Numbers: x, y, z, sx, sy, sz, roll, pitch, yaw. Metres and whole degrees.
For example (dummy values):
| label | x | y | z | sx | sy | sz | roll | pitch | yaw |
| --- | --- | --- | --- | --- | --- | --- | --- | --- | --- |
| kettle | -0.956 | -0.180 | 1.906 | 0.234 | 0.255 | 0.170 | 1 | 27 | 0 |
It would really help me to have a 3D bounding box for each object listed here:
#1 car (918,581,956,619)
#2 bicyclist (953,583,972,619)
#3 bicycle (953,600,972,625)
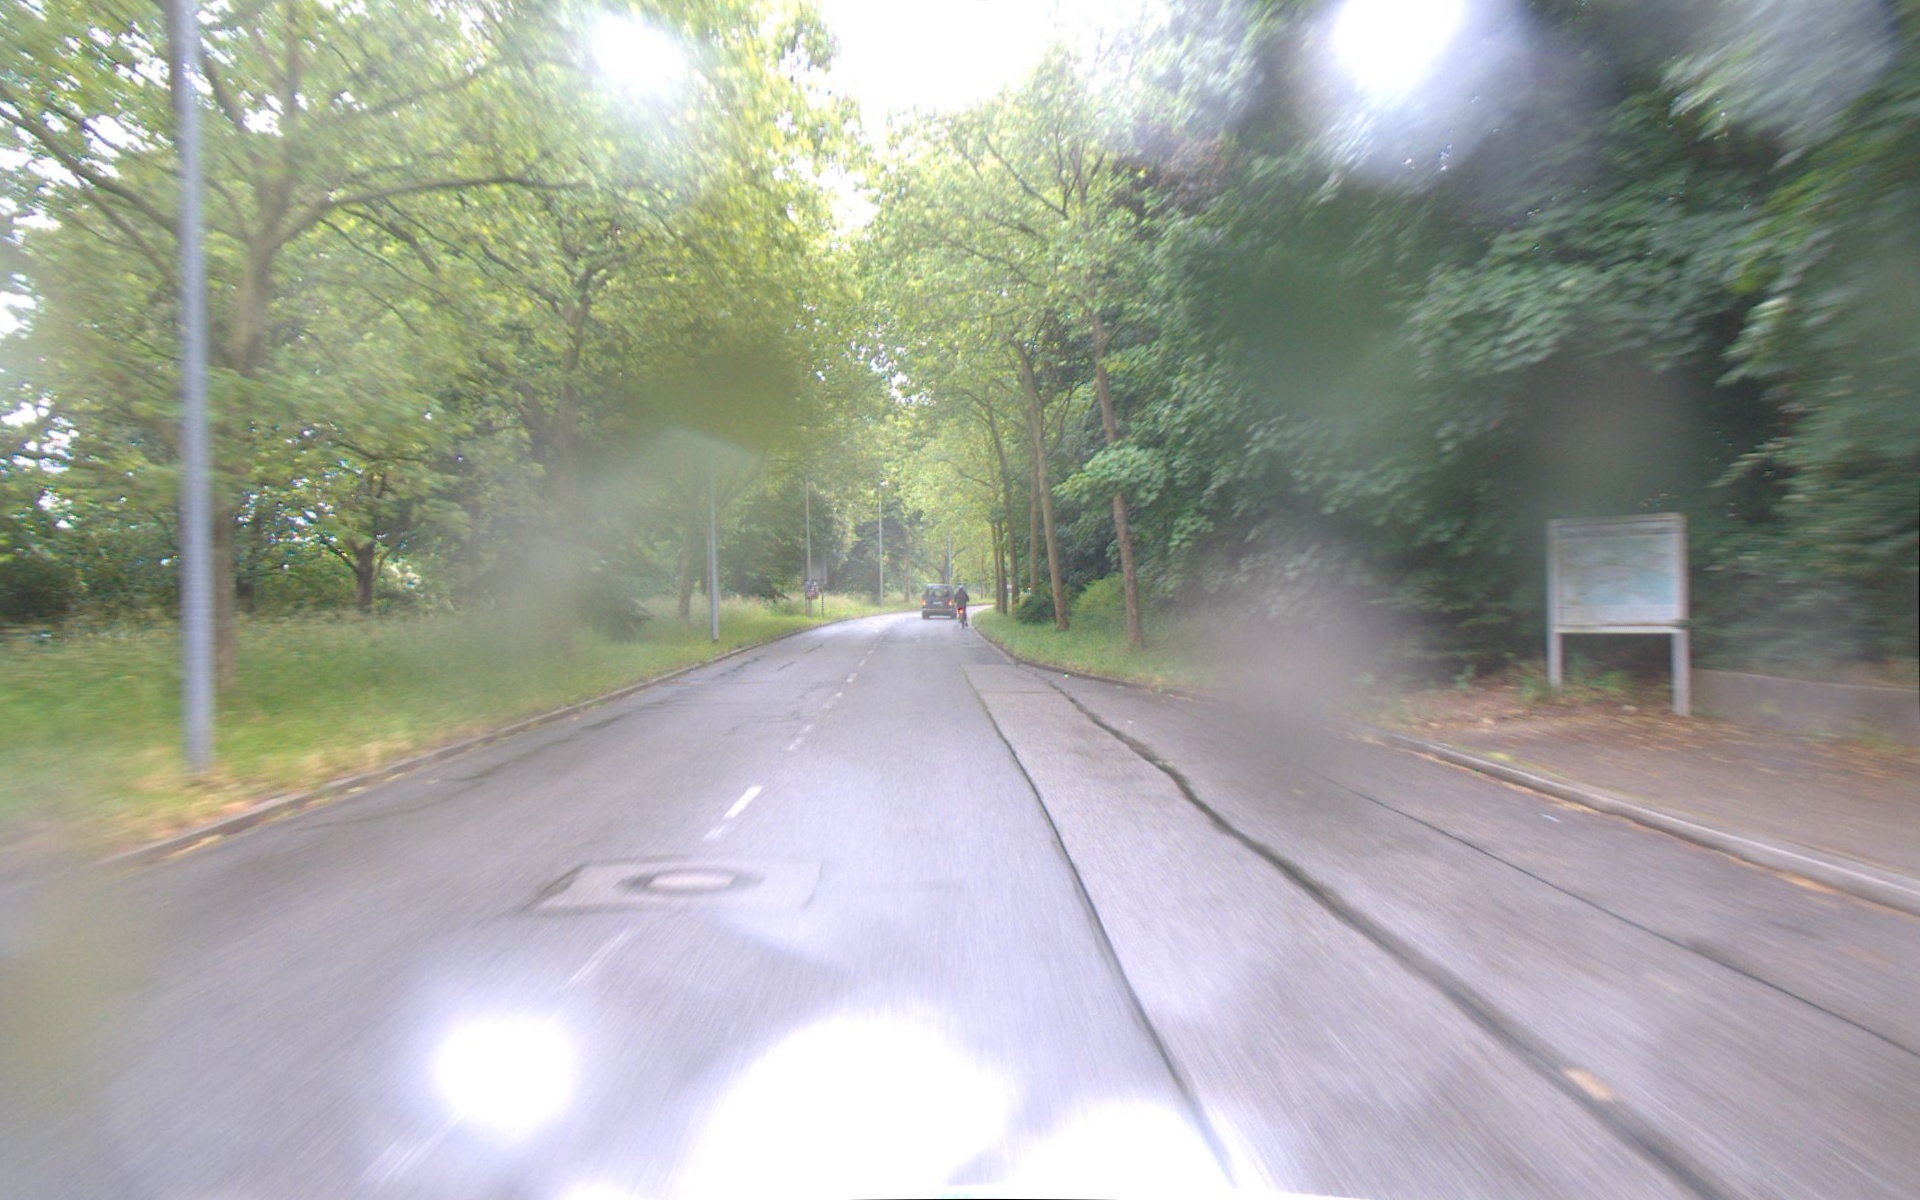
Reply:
| label | x | y | z | sx | sy | sz | roll | pitch | yaw |
| --- | --- | --- | --- | --- | --- | --- | --- | --- | --- |
| car | -1.279 | -0.023 | 89.471 | 1.946 | 1.959 | 3.998 | -1 | 0 | -3 |
| bicyclist | 0.096 | 0.031 | 67.254 | 0.714 | 1.435 | 0.973 | 0 | 0 | 2 |
| bicycle | 0.100 | 0.514 | 67.332 | 0.714 | 0.991 | 2.173 | 0 | 0 | 2 |
